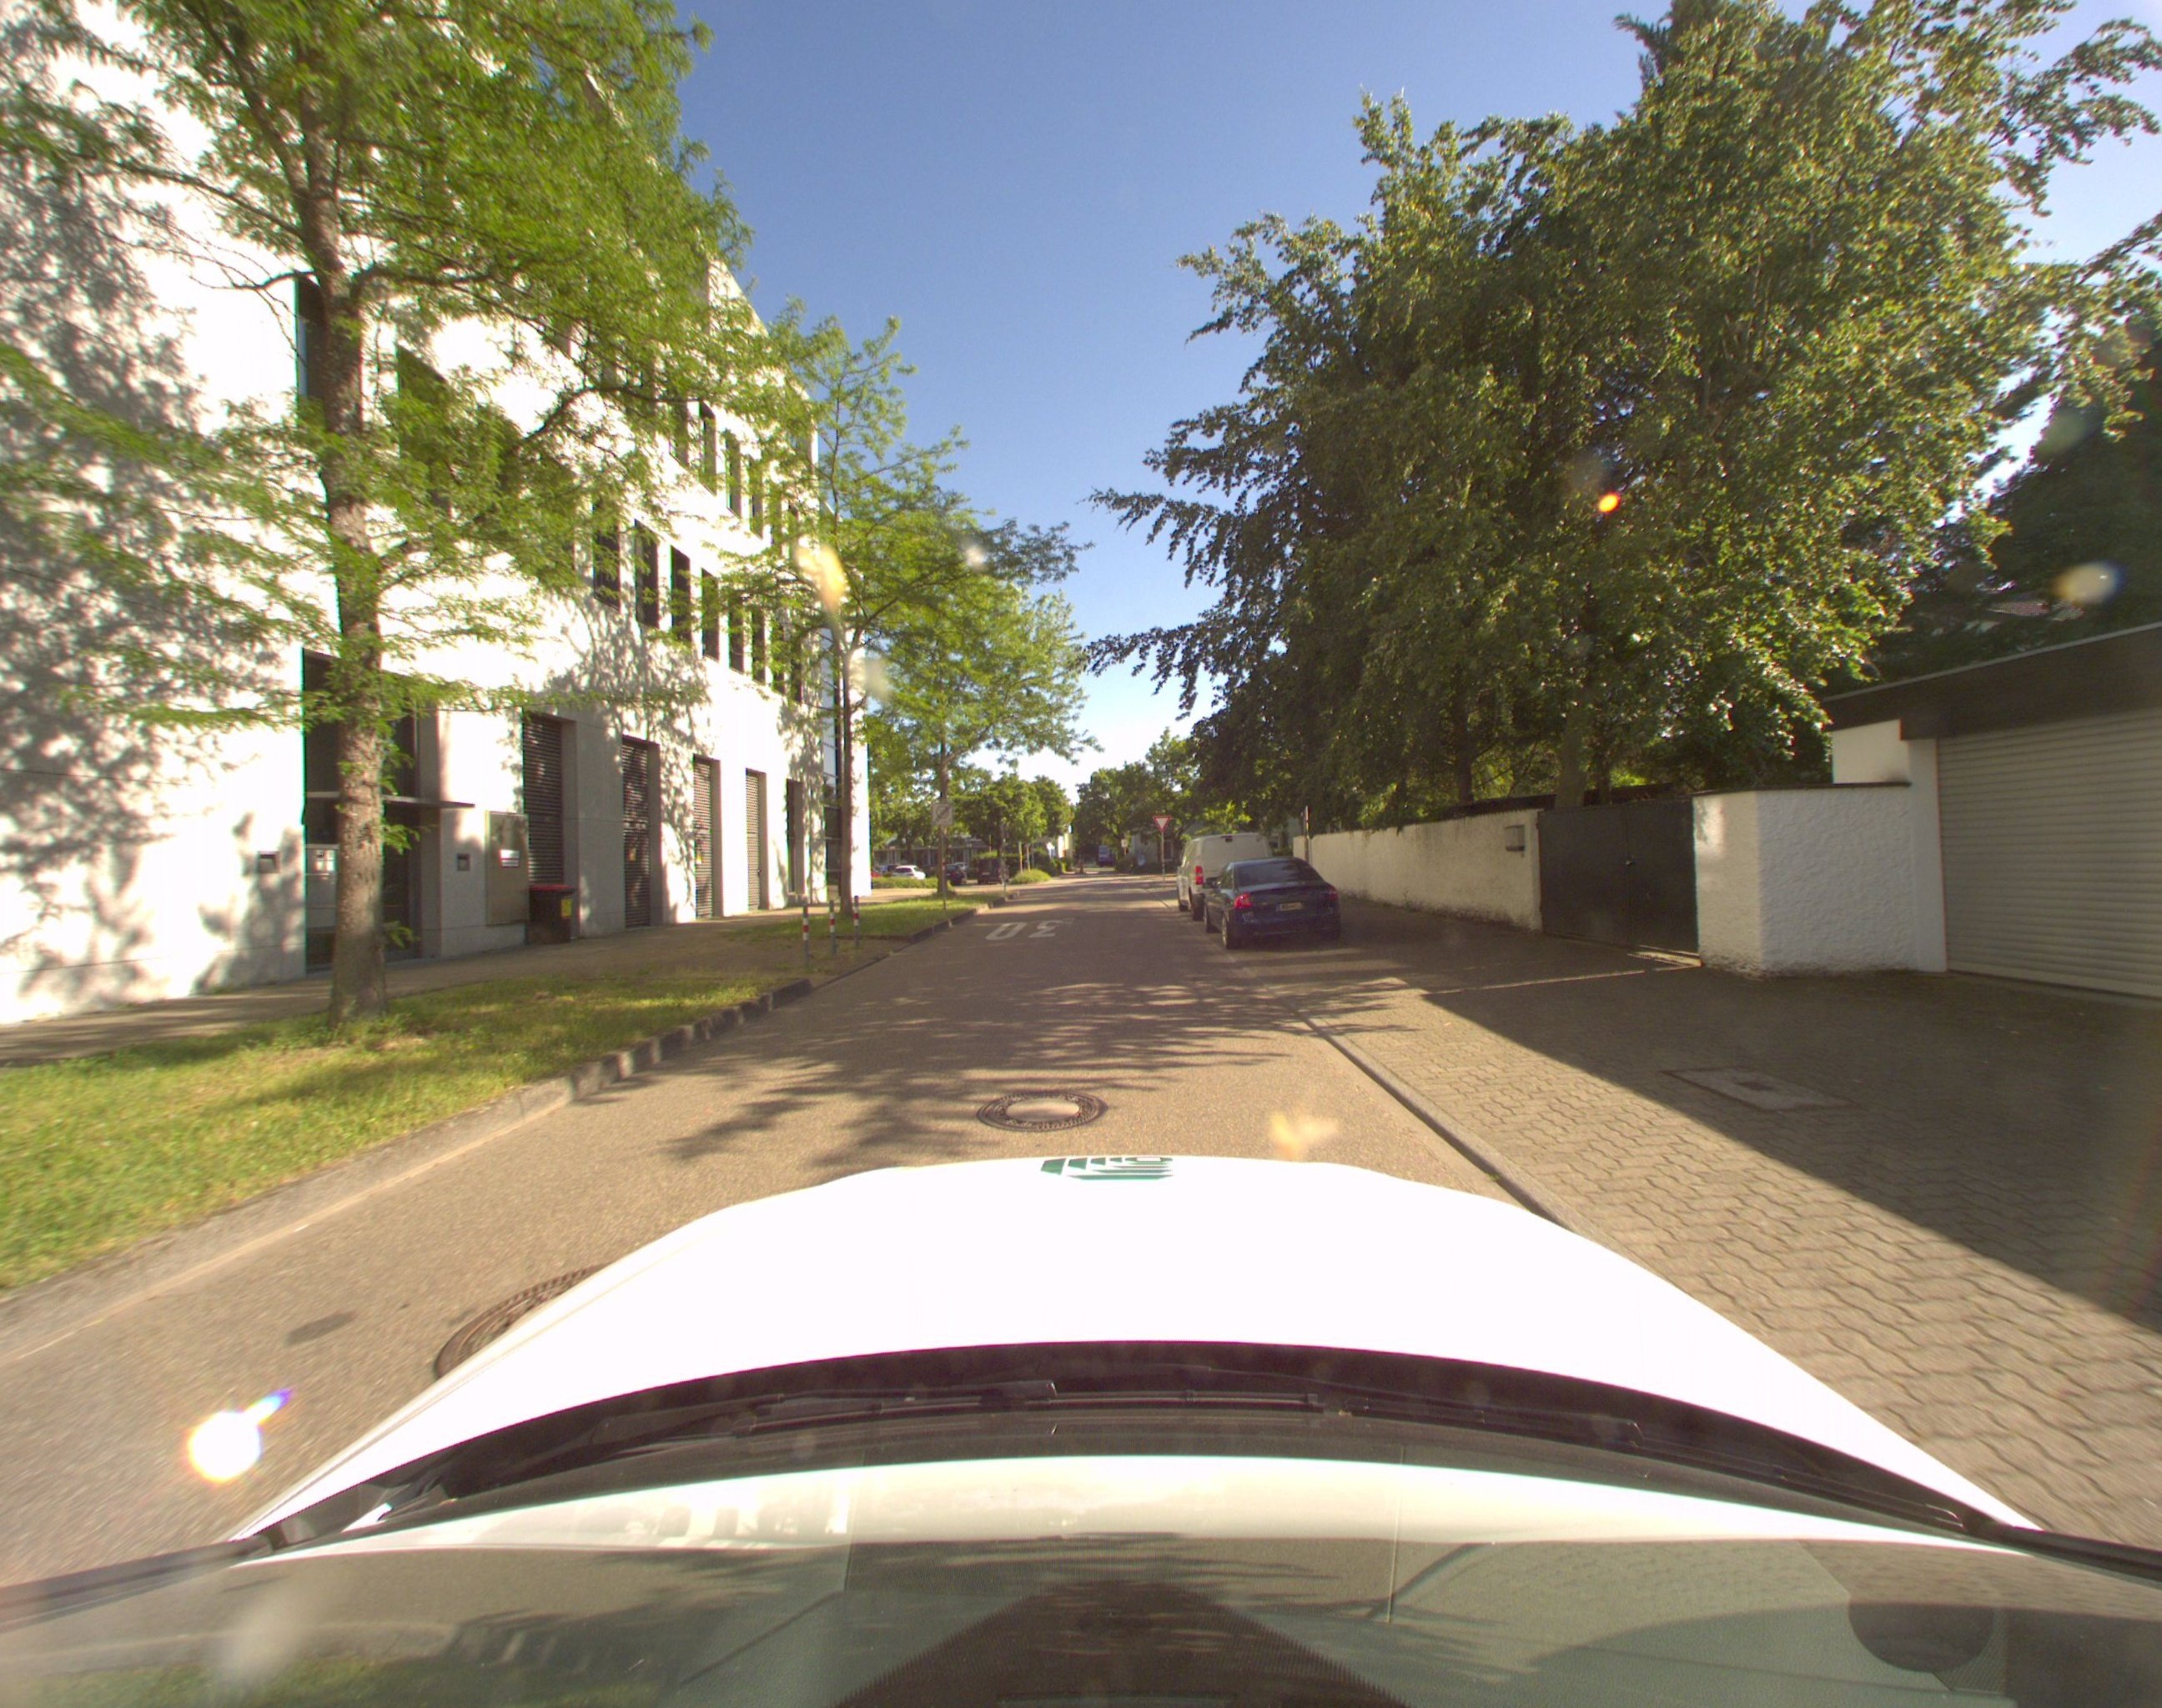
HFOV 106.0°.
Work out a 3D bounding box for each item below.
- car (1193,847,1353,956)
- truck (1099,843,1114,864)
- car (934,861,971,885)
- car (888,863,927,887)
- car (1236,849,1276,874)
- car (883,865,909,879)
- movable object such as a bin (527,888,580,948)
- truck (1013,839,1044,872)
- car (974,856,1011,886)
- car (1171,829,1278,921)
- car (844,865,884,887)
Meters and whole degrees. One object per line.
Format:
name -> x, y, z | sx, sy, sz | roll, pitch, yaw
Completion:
car -> 3.111, 0.701, 14.103 | 1.818, 1.423, 4.286 | -6, 0, 3
truck -> 4.776, -0.073, 151.049 | 2.749, 3.869, 9.334 | -1, 0, 2
car -> -8.846, 1.313, 56.457 | 1.817, 1.406, 4.168 | -2, 1, 0
car -> -12.011, 1.417, 56.695 | 1.797, 1.436, 3.912 | -2, 1, 0
car -> 12.075, 0.484, 56.421 | 1.817, 1.598, 4.168 | -2, 1, 0
car -> -21.879, 2.111, 96.374 | 1.828, 1.497, 3.912 | -2, 0, 4
movable object such as a bin -> -9.516, 1.145, 14.700 | 0.591, 1.040, 0.543 | -1, 0, 0
truck -> -6.248, 0.165, 97.701 | 2.790, 3.806, 6.931 | -1, 0, 4
car -> -6.065, 1.147, 56.402 | 1.867, 1.846, 4.170 | -2, 1, 2
car -> 3.408, 0.471, 20.311 | 1.891, 1.914, 5.151 | -3, 0, 3
car -> -15.001, 1.513, 56.523 | 1.662, 1.426, 3.911 | -1, 0, 0
